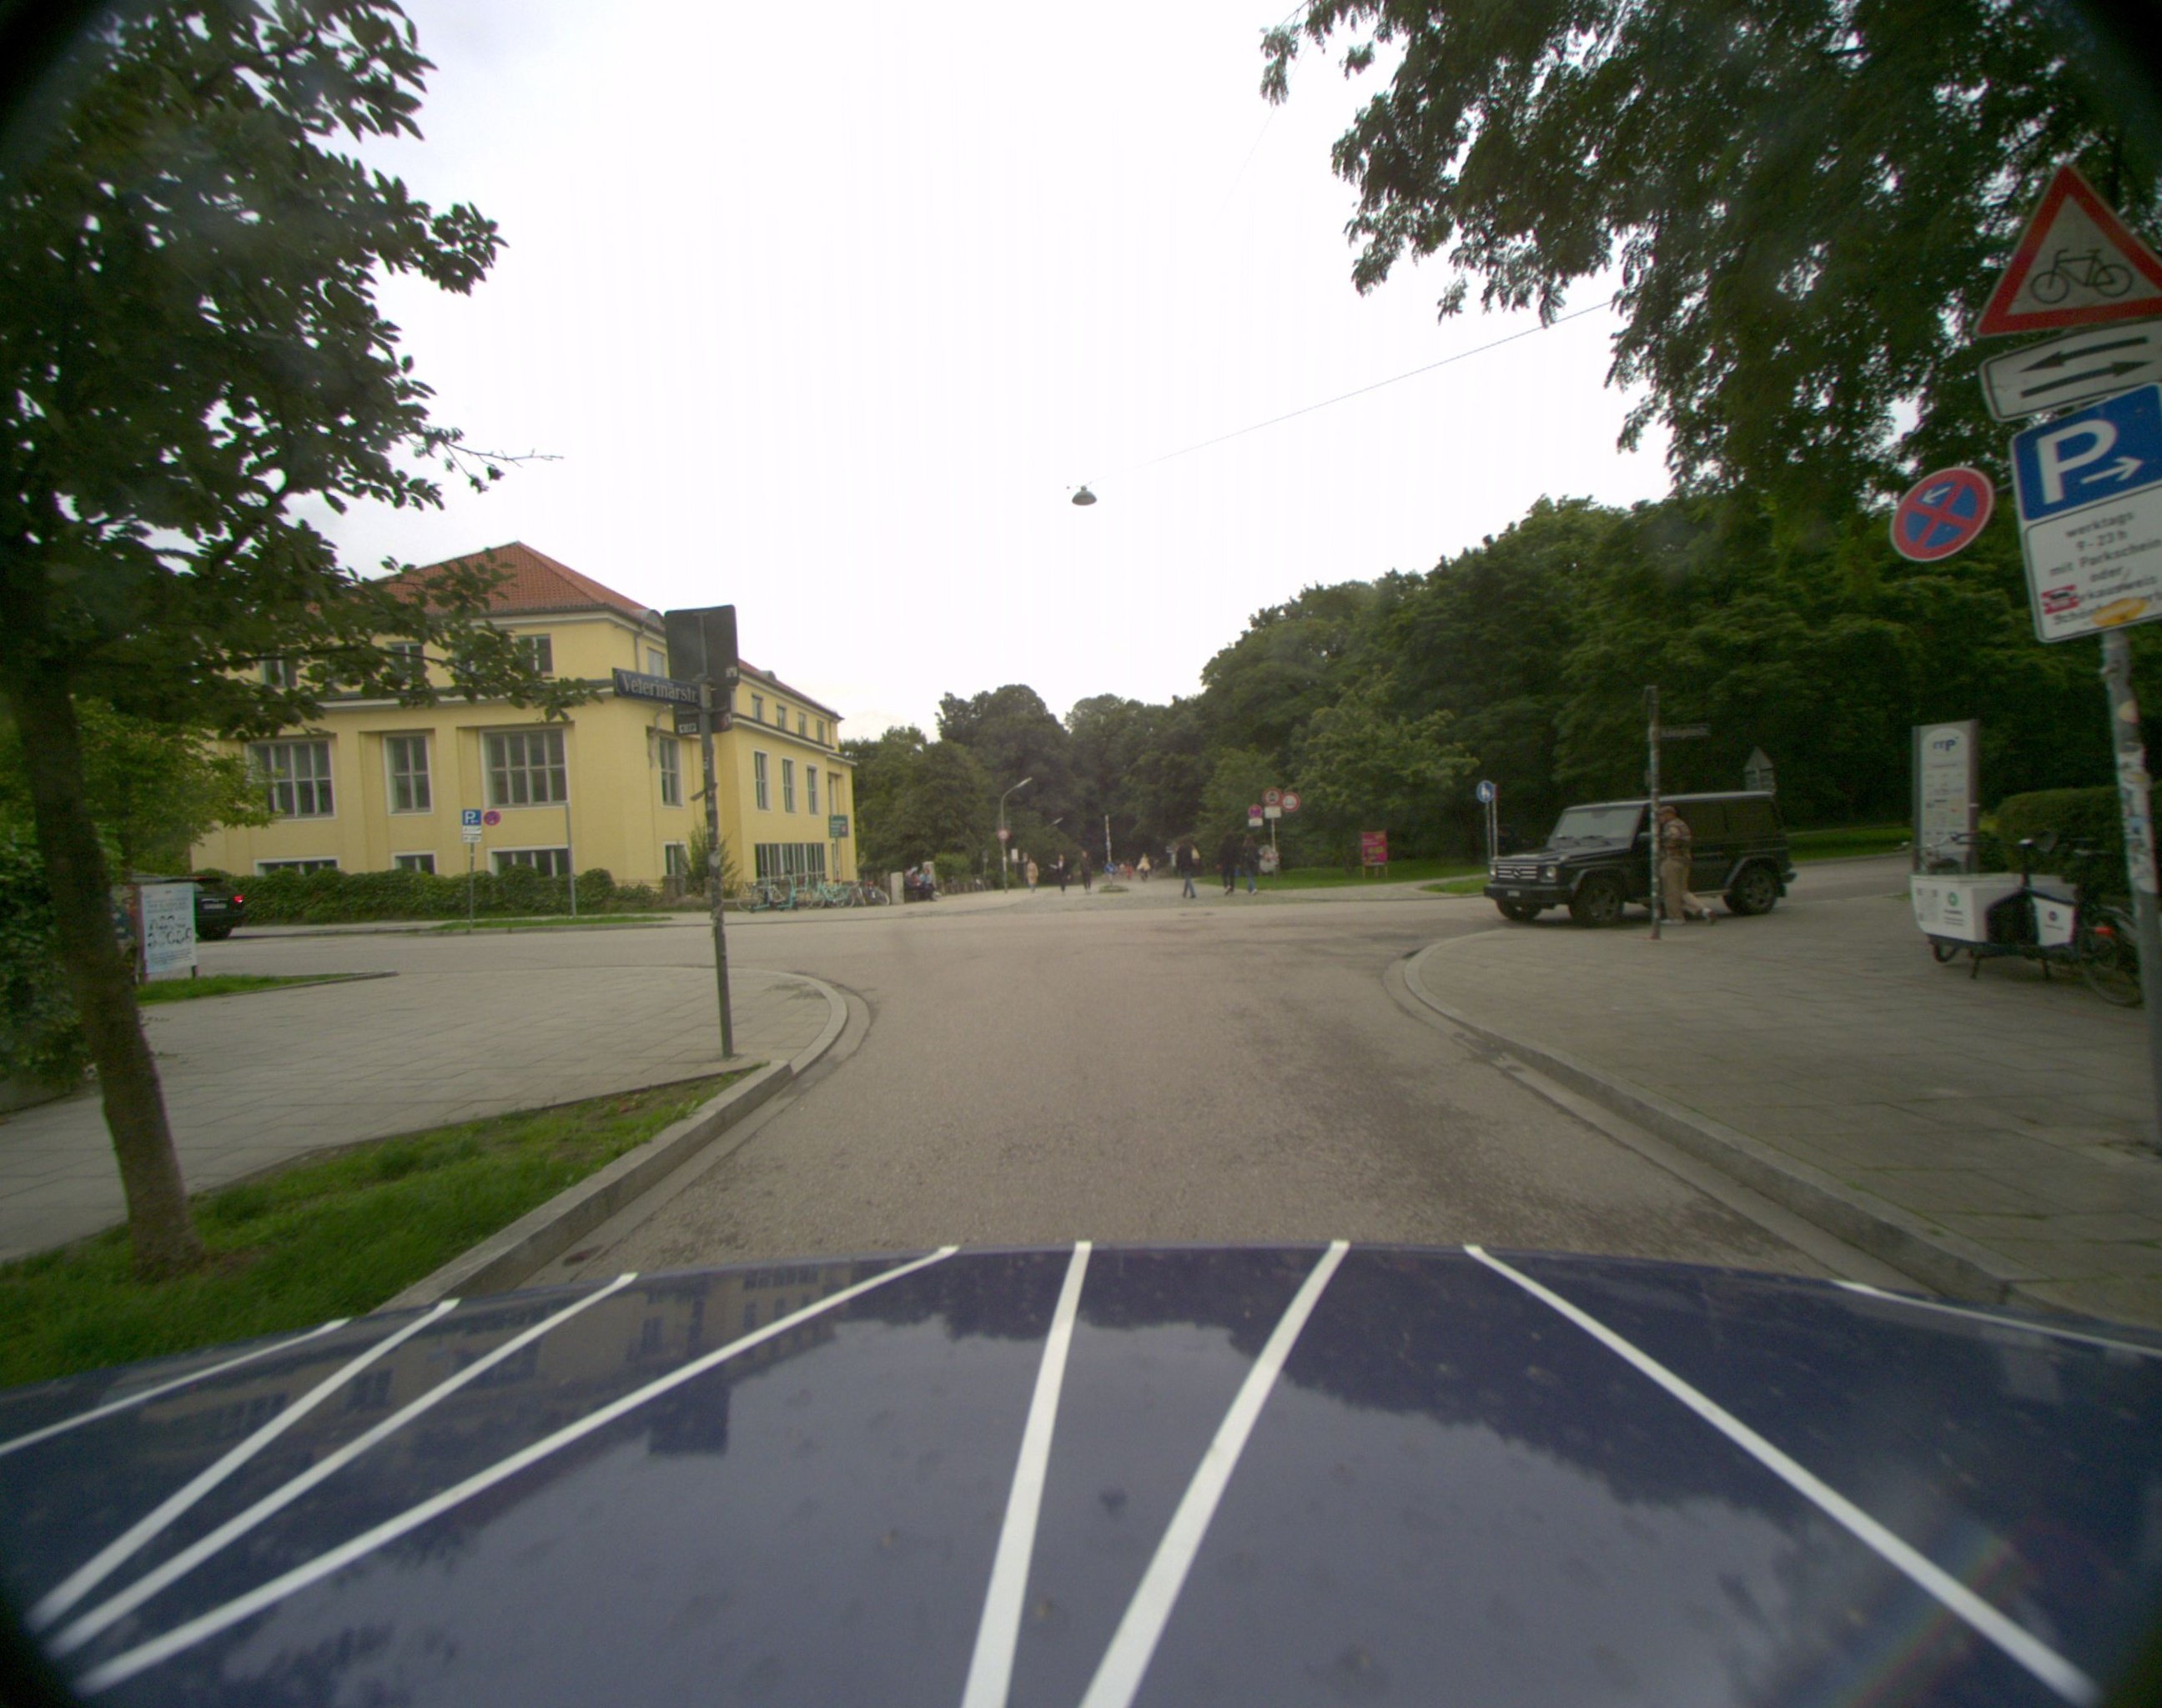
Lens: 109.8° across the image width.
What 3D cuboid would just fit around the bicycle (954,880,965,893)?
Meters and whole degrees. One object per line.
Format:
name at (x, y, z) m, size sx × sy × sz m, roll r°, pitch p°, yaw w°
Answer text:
bicycle at (-6.251, 1.688, 39.208) m, size 0.215 × 0.671 × 0.910 m, roll -1°, pitch -1°, yaw 14°

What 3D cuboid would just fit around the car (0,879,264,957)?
car at (-24.239, 1.594, 19.489) m, size 4.621 × 1.698 × 1.937 m, roll -2°, pitch 0°, yaw 4°

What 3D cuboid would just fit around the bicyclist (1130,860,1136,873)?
bicyclist at (5.350, 1.275, 78.208) m, size 0.564 × 1.259 × 0.761 m, roll -2°, pitch 3°, yaw 3°

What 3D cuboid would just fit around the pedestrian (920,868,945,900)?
pedestrian at (-5.941, 1.192, 30.468) m, size 0.887 × 1.227 × 0.550 m, roll -4°, pitch -2°, yaw -8°

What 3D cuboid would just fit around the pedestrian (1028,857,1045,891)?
pedestrian at (-2.275, 1.038, 38.971) m, size 0.653 × 1.676 × 0.976 m, roll -4°, pitch -2°, yaw 3°

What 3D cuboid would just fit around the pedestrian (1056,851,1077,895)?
pedestrian at (-0.578, 0.766, 30.160) m, size 0.685 × 1.662 × 0.774 m, roll -4°, pitch -2°, yaw 3°

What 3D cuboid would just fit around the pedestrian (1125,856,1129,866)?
pedestrian at (5.986, 0.916, 98.047) m, size 0.471 × 1.259 × 0.448 m, roll -2°, pitch 3°, yaw 3°

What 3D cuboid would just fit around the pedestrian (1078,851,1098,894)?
pedestrian at (0.276, 0.733, 30.358) m, size 0.639 × 1.662 × 0.774 m, roll -4°, pitch -2°, yaw 3°

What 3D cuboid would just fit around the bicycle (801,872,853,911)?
bicycle at (-8.112, 1.189, 24.324) m, size 0.202 × 1.184 × 1.658 m, roll -1°, pitch -1°, yaw 44°

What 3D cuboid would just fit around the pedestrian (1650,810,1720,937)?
pedestrian at (8.808, 0.285, 11.106) m, size 0.560 × 1.788 × 0.641 m, roll -3°, pitch -1°, yaw 20°

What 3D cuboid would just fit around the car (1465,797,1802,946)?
car at (8.820, 0.193, 12.260) m, size 4.421 × 1.990 × 1.933 m, roll -3°, pitch 2°, yaw -12°

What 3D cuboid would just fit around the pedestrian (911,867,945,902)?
pedestrian at (-5.987, 1.186, 29.816) m, size 1.178 × 1.285 × 0.639 m, roll -4°, pitch -2°, yaw -8°

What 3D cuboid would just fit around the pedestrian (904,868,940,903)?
pedestrian at (-6.046, 1.195, 28.874) m, size 1.216 × 1.239 × 0.639 m, roll -4°, pitch -2°, yaw -8°

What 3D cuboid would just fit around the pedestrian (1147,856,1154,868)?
pedestrian at (10.021, 1.147, 109.583) m, size 0.742 × 1.662 × 0.922 m, roll -4°, pitch -2°, yaw 3°

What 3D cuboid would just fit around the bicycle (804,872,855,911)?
bicycle at (-7.979, 1.177, 24.178) m, size 0.169 × 1.191 × 1.658 m, roll -1°, pitch -1°, yaw 44°

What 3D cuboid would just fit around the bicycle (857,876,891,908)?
bicycle at (-7.061, 1.280, 25.980) m, size 0.307 × 1.032 × 1.657 m, roll -1°, pitch -1°, yaw 17°

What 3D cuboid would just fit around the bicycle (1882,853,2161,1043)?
bicycle at (7.222, 0.610, 5.904) m, size 0.582 × 1.120 × 2.301 m, roll -4°, pitch 1°, yaw 26°

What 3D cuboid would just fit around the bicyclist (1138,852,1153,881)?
bicyclist at (4.112, 0.804, 48.346) m, size 0.856 × 1.792 × 0.767 m, roll -3°, pitch 1°, yaw 3°

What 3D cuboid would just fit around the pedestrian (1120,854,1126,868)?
pedestrian at (5.281, 0.882, 95.527) m, size 0.685 × 1.662 × 0.774 m, roll -4°, pitch -2°, yaw 3°

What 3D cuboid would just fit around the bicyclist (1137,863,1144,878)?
bicyclist at (5.608, 1.564, 71.968) m, size 0.564 × 1.366 × 0.762 m, roll -2°, pitch -1°, yaw 3°

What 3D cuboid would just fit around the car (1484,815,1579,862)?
car at (22.556, -0.783, 38.058) m, size 3.958 × 2.093 × 1.908 m, roll -3°, pitch 2°, yaw 33°

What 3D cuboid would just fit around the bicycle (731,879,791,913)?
bicycle at (-9.743, 1.279, 23.176) m, size 1.656 × 0.987 × 0.248 m, roll 0°, pitch -1°, yaw -22°

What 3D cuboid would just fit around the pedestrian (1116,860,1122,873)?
pedestrian at (4.938, 1.674, 99.005) m, size 0.685 × 1.662 × 0.774 m, roll -4°, pitch -2°, yaw 3°

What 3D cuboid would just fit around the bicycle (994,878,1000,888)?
bicycle at (-5.640, 1.928, 50.733) m, size 0.242 × 0.653 × 0.909 m, roll -1°, pitch -1°, yaw 3°

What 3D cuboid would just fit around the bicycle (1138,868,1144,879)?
bicycle at (5.637, 1.865, 71.913) m, size 0.464 × 1.053 × 1.762 m, roll -2°, pitch -1°, yaw 3°

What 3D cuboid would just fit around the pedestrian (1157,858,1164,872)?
pedestrian at (9.812, 1.334, 94.149) m, size 0.685 × 1.662 × 0.774 m, roll -4°, pitch -2°, yaw 3°

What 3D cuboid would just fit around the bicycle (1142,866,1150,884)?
bicycle at (4.157, 1.321, 48.455) m, size 0.483 × 1.035 × 1.946 m, roll -2°, pitch 0°, yaw 5°

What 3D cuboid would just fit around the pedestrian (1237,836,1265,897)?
pedestrian at (5.015, 0.373, 22.459) m, size 0.634 × 1.771 × 0.801 m, roll -1°, pitch -1°, yaw 3°

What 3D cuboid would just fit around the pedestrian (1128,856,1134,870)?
pedestrian at (6.601, 1.172, 99.529) m, size 0.685 × 1.662 × 0.774 m, roll -4°, pitch -2°, yaw 3°

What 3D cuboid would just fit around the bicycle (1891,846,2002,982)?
bicycle at (8.677, 0.542, 7.593) m, size 1.955 × 1.150 × 0.582 m, roll -3°, pitch -1°, yaw -38°

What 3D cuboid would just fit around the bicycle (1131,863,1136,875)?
bicycle at (5.364, 1.552, 78.199) m, size 0.464 × 1.054 × 1.761 m, roll -2°, pitch 3°, yaw 3°

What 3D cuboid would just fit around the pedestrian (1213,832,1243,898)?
pedestrian at (4.338, 0.326, 22.447) m, size 0.707 × 1.892 × 0.804 m, roll -1°, pitch -1°, yaw 3°

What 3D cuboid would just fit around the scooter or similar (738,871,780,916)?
scooter or similar at (-9.419, 1.144, 22.259) m, size 0.396 × 1.240 × 1.391 m, roll -2°, pitch 0°, yaw 11°

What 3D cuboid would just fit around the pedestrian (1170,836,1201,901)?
pedestrian at (3.020, 0.422, 22.005) m, size 0.751 × 1.822 × 1.115 m, roll -1°, pitch -1°, yaw 3°

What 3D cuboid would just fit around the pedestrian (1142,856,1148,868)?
pedestrian at (9.175, 1.178, 109.664) m, size 0.742 × 1.662 × 0.922 m, roll -4°, pitch -2°, yaw 3°

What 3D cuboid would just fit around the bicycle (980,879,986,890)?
bicycle at (-5.954, 1.852, 46.201) m, size 0.215 × 0.671 × 0.909 m, roll -1°, pitch -1°, yaw 5°

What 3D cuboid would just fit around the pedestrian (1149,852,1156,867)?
pedestrian at (8.271, 0.591, 87.615) m, size 0.685 × 1.662 × 0.774 m, roll -4°, pitch -2°, yaw 3°

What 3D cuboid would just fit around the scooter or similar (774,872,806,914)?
scooter or similar at (-8.568, 1.138, 22.361) m, size 1.114 × 1.205 × 0.324 m, roll -2°, pitch 0°, yaw 39°
